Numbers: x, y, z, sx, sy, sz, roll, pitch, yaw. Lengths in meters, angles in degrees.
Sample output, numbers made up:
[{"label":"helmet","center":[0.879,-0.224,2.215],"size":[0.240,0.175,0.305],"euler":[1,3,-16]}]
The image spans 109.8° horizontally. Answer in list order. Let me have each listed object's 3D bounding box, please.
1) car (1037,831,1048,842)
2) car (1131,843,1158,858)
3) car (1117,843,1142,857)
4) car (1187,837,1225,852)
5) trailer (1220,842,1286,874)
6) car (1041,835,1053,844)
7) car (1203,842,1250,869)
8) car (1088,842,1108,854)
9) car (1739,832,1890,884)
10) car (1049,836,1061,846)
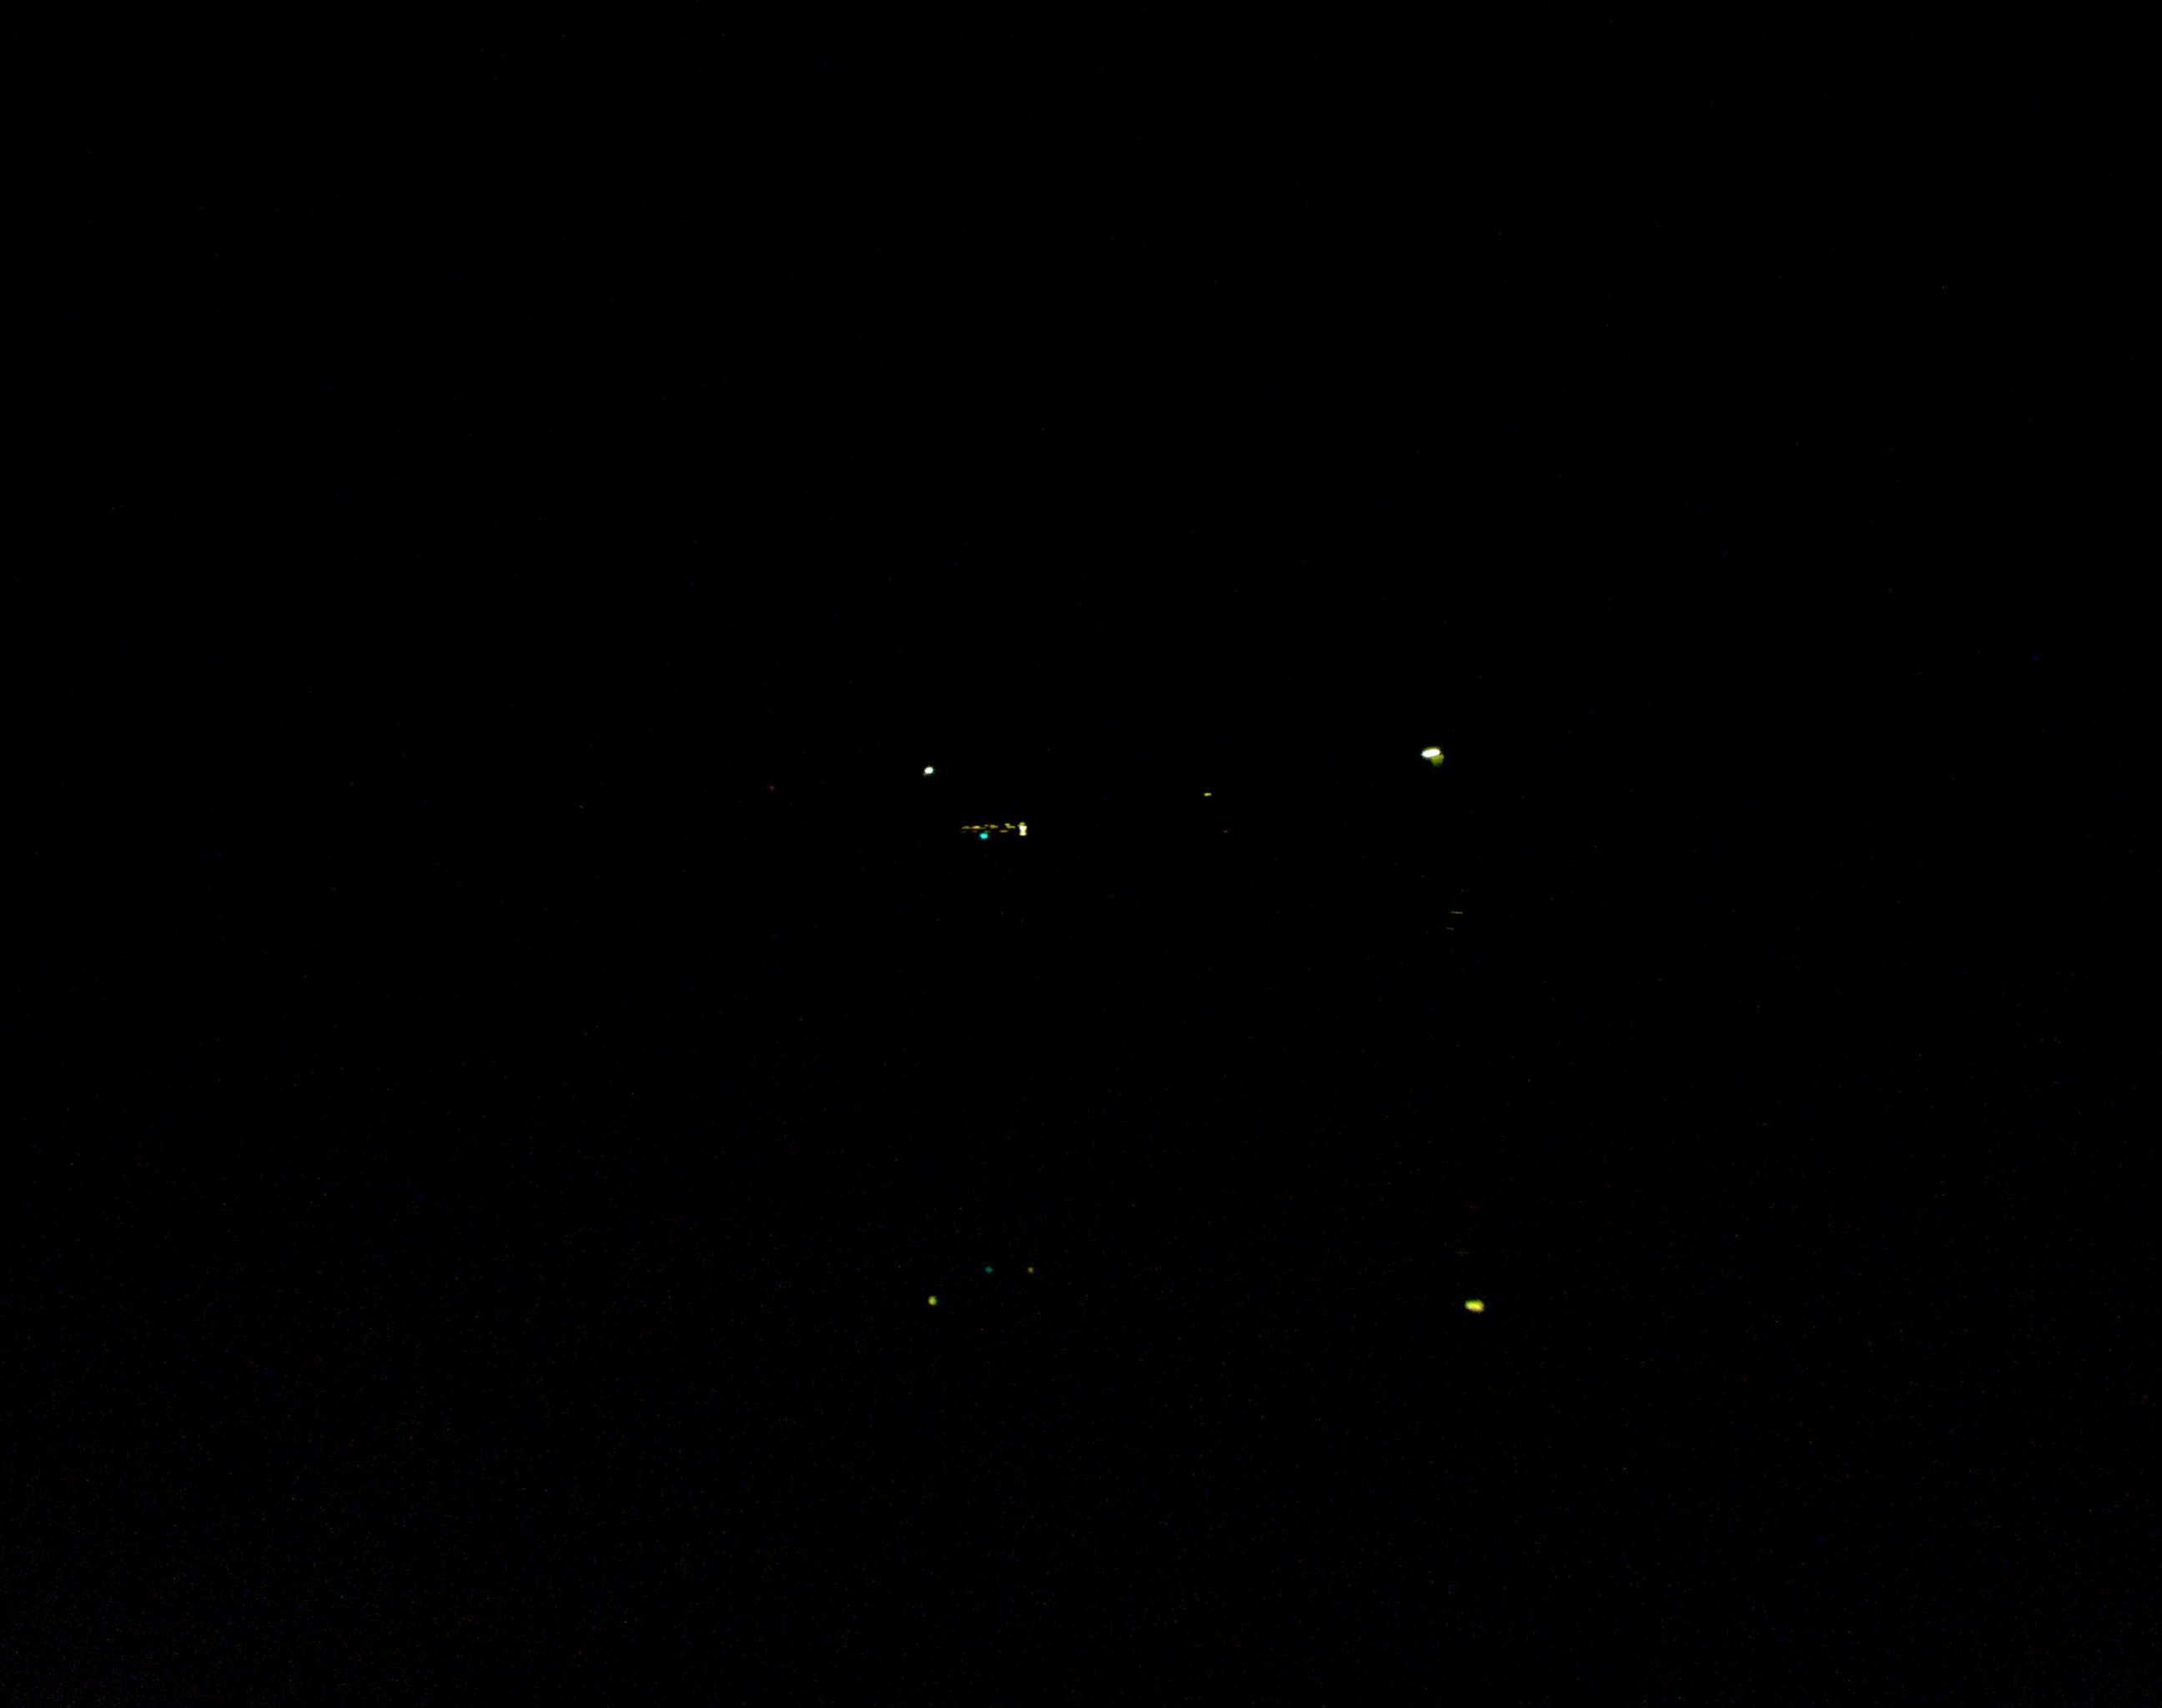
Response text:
[{"label":"car","center":[-8.810,-4.060,175.199],"size":[2.166,2.499,4.716],"euler":[2,2,-6]},{"label":"car","center":[6.283,-0.333,75.625],"size":[1.734,1.357,4.141],"euler":[2,2,-8]},{"label":"car","center":[5.187,-0.424,81.984],"size":[1.906,1.357,4.979],"euler":[2,2,-6]},{"label":"car","center":[14.748,-1.115,89.602],"size":[4.000,1.534,1.887],"euler":[-3,2,-10]},{"label":"trailer","center":[10.257,0.163,45.901],"size":[2.031,1.770,5.668],"euler":[1,1,-7]},{"label":"car","center":[-7.298,-3.157,161.835],"size":[2.126,1.761,4.716],"euler":[2,2,-6]},{"label":"car","center":[9.679,0.069,51.006],"size":[1.722,1.568,4.530],"euler":[2,2,-7]},{"label":"car","center":[2.260,-0.832,101.205],"size":[1.770,1.559,4.688],"euler":[3,1,-8]},{"label":"car","center":[26.328,0.114,27.347],"size":[3.999,1.600,1.755],"euler":[-3,2,-6]},{"label":"car","center":[-5.107,-2.550,148.914],"size":[2.126,1.761,4.716],"euler":[2,2,-6]}]
